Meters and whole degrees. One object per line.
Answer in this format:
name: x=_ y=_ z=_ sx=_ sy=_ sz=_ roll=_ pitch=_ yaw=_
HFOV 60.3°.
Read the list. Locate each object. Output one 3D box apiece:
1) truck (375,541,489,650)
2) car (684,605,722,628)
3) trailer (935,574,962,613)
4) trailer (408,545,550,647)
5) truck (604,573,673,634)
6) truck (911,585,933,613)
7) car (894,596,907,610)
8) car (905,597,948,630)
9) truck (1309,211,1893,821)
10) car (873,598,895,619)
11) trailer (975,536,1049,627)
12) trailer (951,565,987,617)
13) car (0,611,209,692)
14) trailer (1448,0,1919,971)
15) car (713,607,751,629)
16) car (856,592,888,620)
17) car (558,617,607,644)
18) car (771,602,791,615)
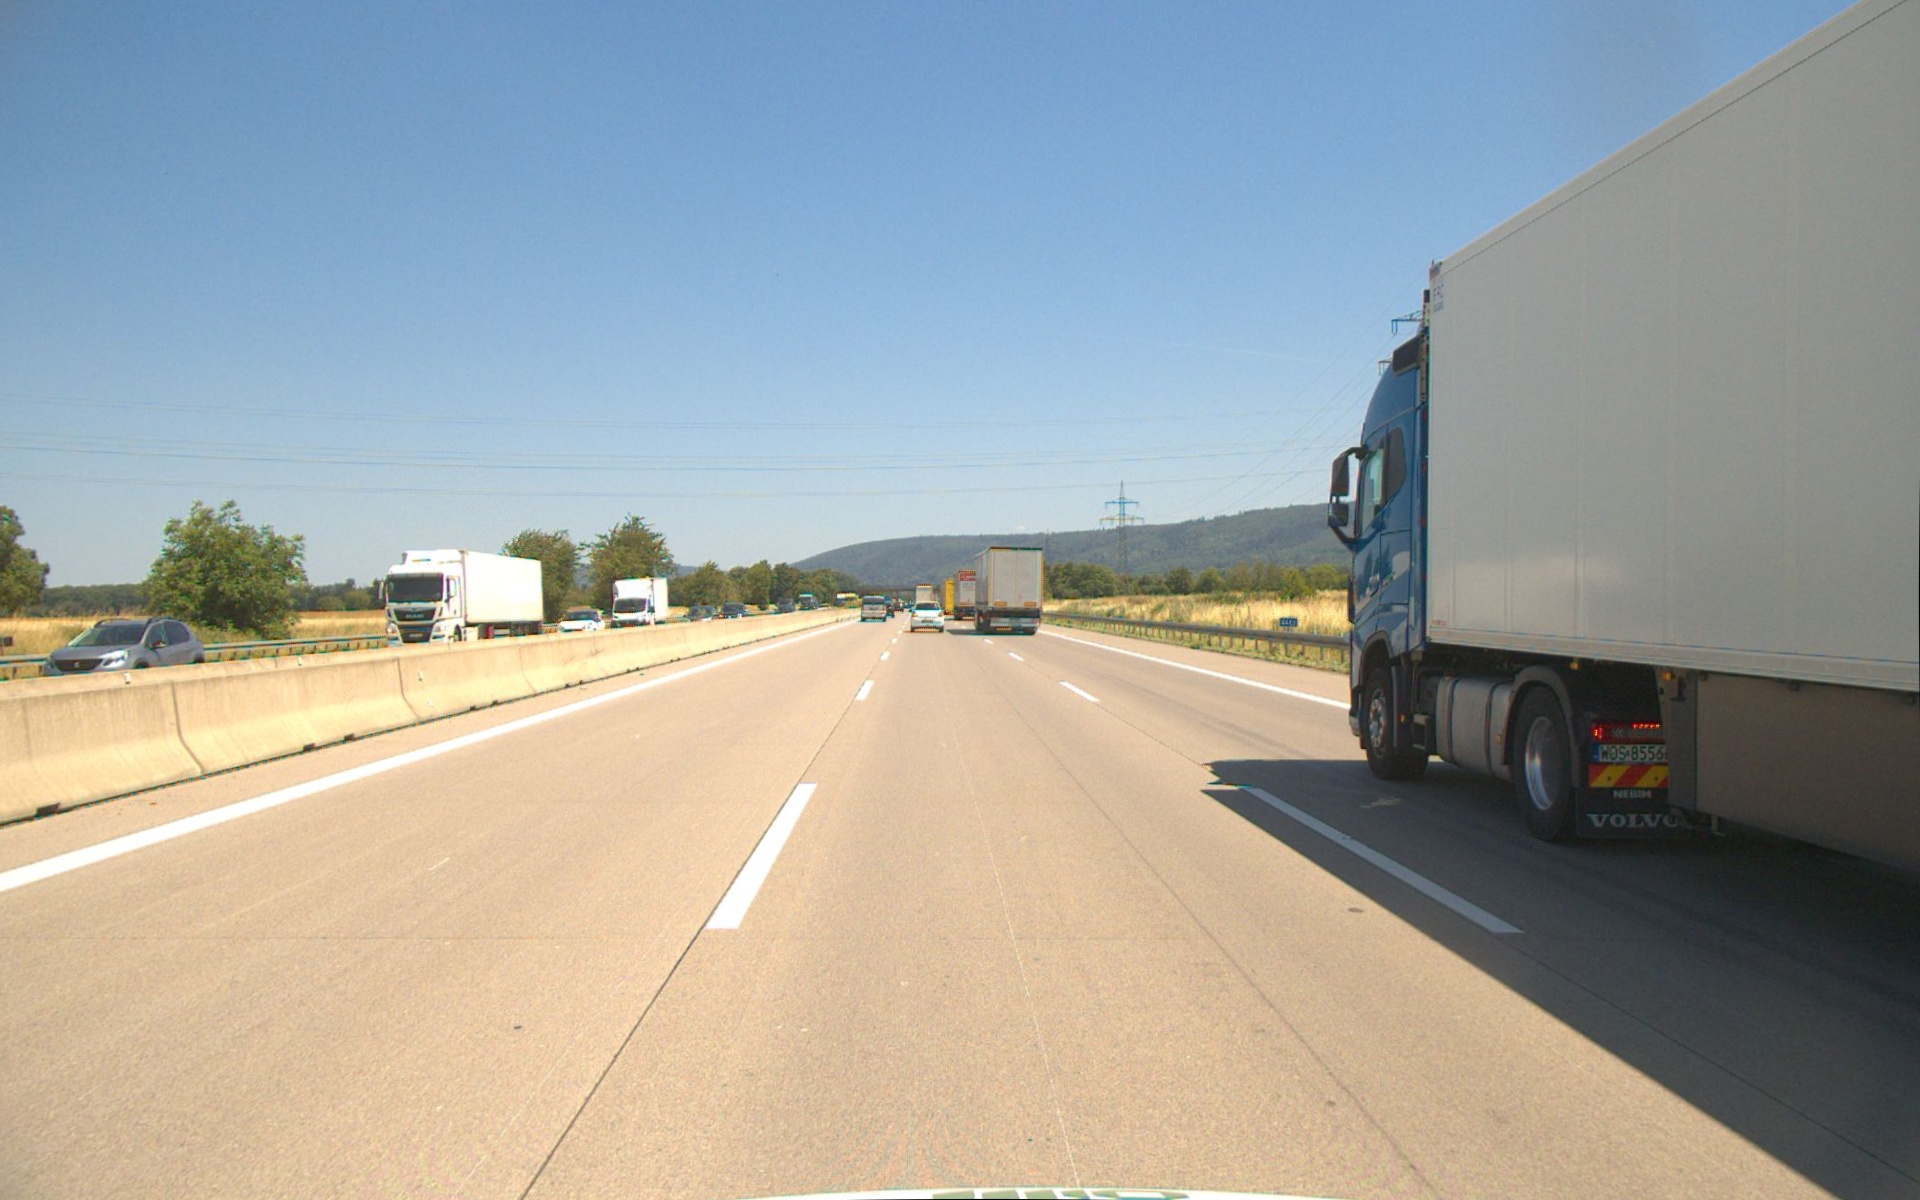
truck: x=-21.072 y=-0.166 z=66.276 sx=2.762 sy=4.115 sz=5.676 roll=1 pitch=0 yaw=-1
car: x=-13.558 y=0.859 z=87.378 sx=1.511 sy=1.183 sz=3.374 roll=1 pitch=0 yaw=-2
trailer: x=-1.499 y=-0.785 z=203.696 sx=3.151 sy=4.643 sz=13.453 roll=1 pitch=0 yaw=-1
trailer: x=-21.179 y=-0.156 z=73.826 sx=2.763 sy=4.115 sz=12.674 roll=1 pitch=0 yaw=-1
truck: x=-17.672 y=0.180 z=91.429 sx=2.496 sy=3.197 sz=7.920 roll=0 pitch=0 yaw=-2
truck: x=-5.947 y=-0.135 z=257.878 sx=3.285 sy=4.347 sz=8.226 roll=1 pitch=0 yaw=-1
car: x=-8.602 y=0.441 z=239.454 sx=1.747 sy=1.914 sz=3.999 roll=1 pitch=0 yaw=-1
car: x=-1.664 y=0.676 z=83.096 sx=2.064 sy=1.563 sz=4.121 roll=1 pitch=0 yaw=0
truck: x=4.947 y=-0.562 z=13.983 sx=2.694 sy=4.114 sz=5.464 roll=1 pitch=0 yaw=-1
car: x=-7.192 y=0.820 z=157.100 sx=1.953 sy=1.991 sz=3.999 roll=1 pitch=0 yaw=-1
trailer: x=2.468 y=-0.828 z=82.989 sx=2.956 sy=4.132 sz=14.203 roll=1 pitch=0 yaw=-1
trailer: x=0.741 y=-0.730 z=142.235 sx=2.815 sy=4.172 sz=13.510 roll=1 pitch=0 yaw=-1
car: x=-16.451 y=0.933 z=32.039 sx=1.700 sy=1.397 sz=4.904 roll=1 pitch=0 yaw=-2
trailer: x=5.145 y=-0.578 z=5.975 sx=2.654 sy=4.114 sz=12.898 roll=1 pitch=0 yaw=-1
car: x=-14.522 y=1.134 z=105.548 sx=1.809 sy=1.375 sz=4.493 roll=0 pitch=0 yaw=0
car: x=-6.676 y=0.466 z=125.574 sx=2.209 sy=2.049 sz=4.297 roll=1 pitch=0 yaw=-1
car: x=-17.371 y=1.379 z=76.283 sx=1.647 sy=1.166 sz=4.393 roll=0 pitch=0 yaw=-6
car: x=-16.092 y=0.747 z=148.776 sx=1.490 sy=1.071 sz=3.523 roll=1 pitch=0 yaw=0
